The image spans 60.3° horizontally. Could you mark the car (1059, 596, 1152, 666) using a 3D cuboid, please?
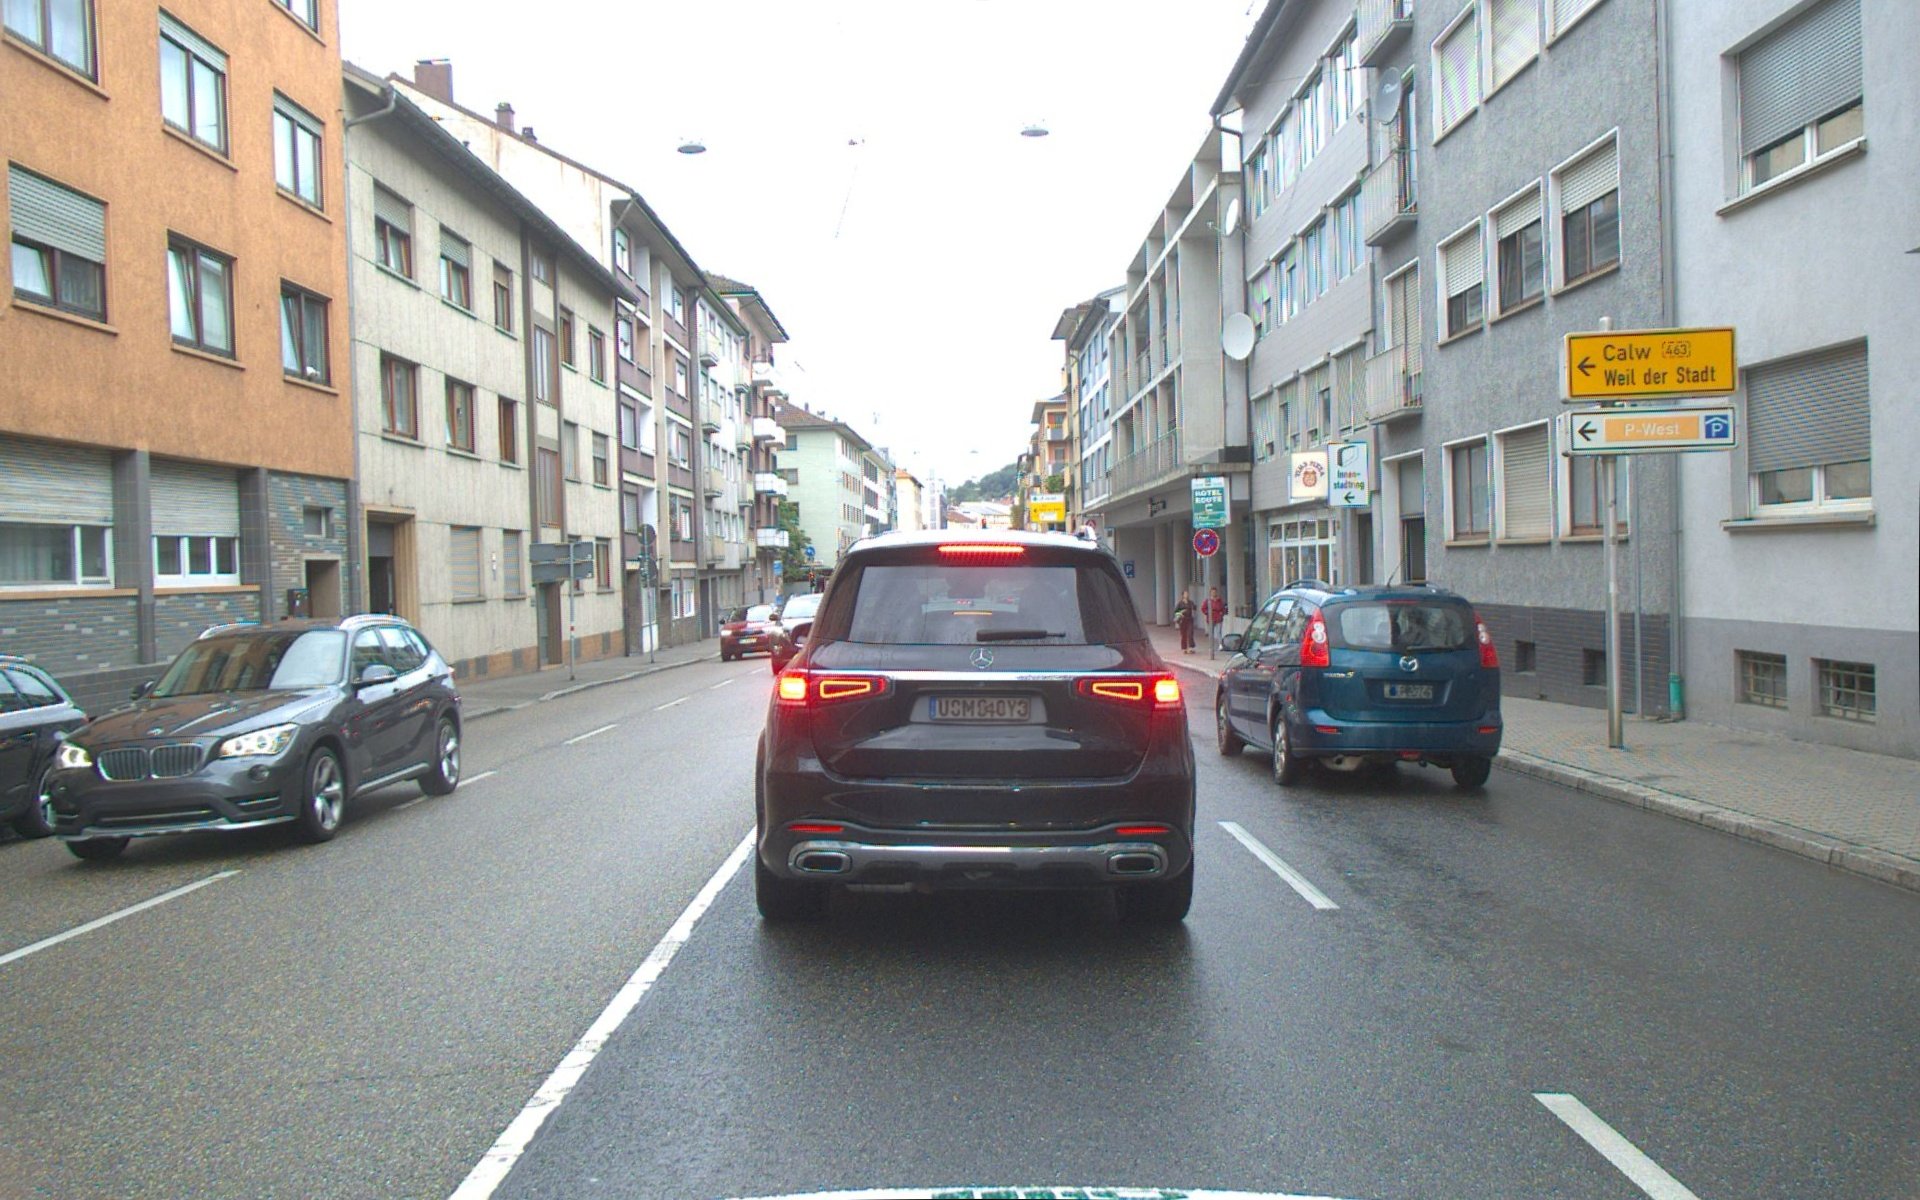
[{"bbox_3d":[3.224,0.655,37.247,1.588,1.455,4.311,1,0,-1],"label":"car"}]

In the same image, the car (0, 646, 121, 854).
[{"bbox_3d":[-7.969,1.134,11.750,1.759,1.463,4.526,1,0,-1],"label":"car"}]

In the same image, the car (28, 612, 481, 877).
[{"bbox_3d":[-5.098,0.932,12.630,1.669,1.533,4.158,-4,0,-1],"label":"car"}]

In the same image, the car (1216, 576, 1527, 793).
[{"bbox_3d":[3.446,0.633,14.640,1.770,1.634,4.212,0,0,1],"label":"car"}]

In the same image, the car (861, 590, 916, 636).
[{"bbox_3d":[-2.913,0.509,68.605,2.083,1.750,4.816,-3,0,-1],"label":"car"}]

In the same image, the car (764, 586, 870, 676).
[{"bbox_3d":[-3.119,0.632,36.887,1.798,1.757,4.475,-4,0,1],"label":"car"}]

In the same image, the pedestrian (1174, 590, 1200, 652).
[{"bbox_3d":[5.768,0.537,41.984,0.496,1.526,0.562,-4,0,2],"label":"pedestrian"}]

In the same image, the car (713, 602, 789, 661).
[{"bbox_3d":[-6.356,0.929,50.658,1.761,1.612,4.315,-3,0,-1],"label":"car"}]

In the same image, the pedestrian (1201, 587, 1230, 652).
[{"bbox_3d":[6.492,0.490,41.996,0.549,1.606,0.526,-4,0,-1],"label":"pedestrian"}]

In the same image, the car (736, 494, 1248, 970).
[{"bbox_3d":[0.087,0.518,8.509,1.984,1.837,3.999,1,0,-1],"label":"car"}]
